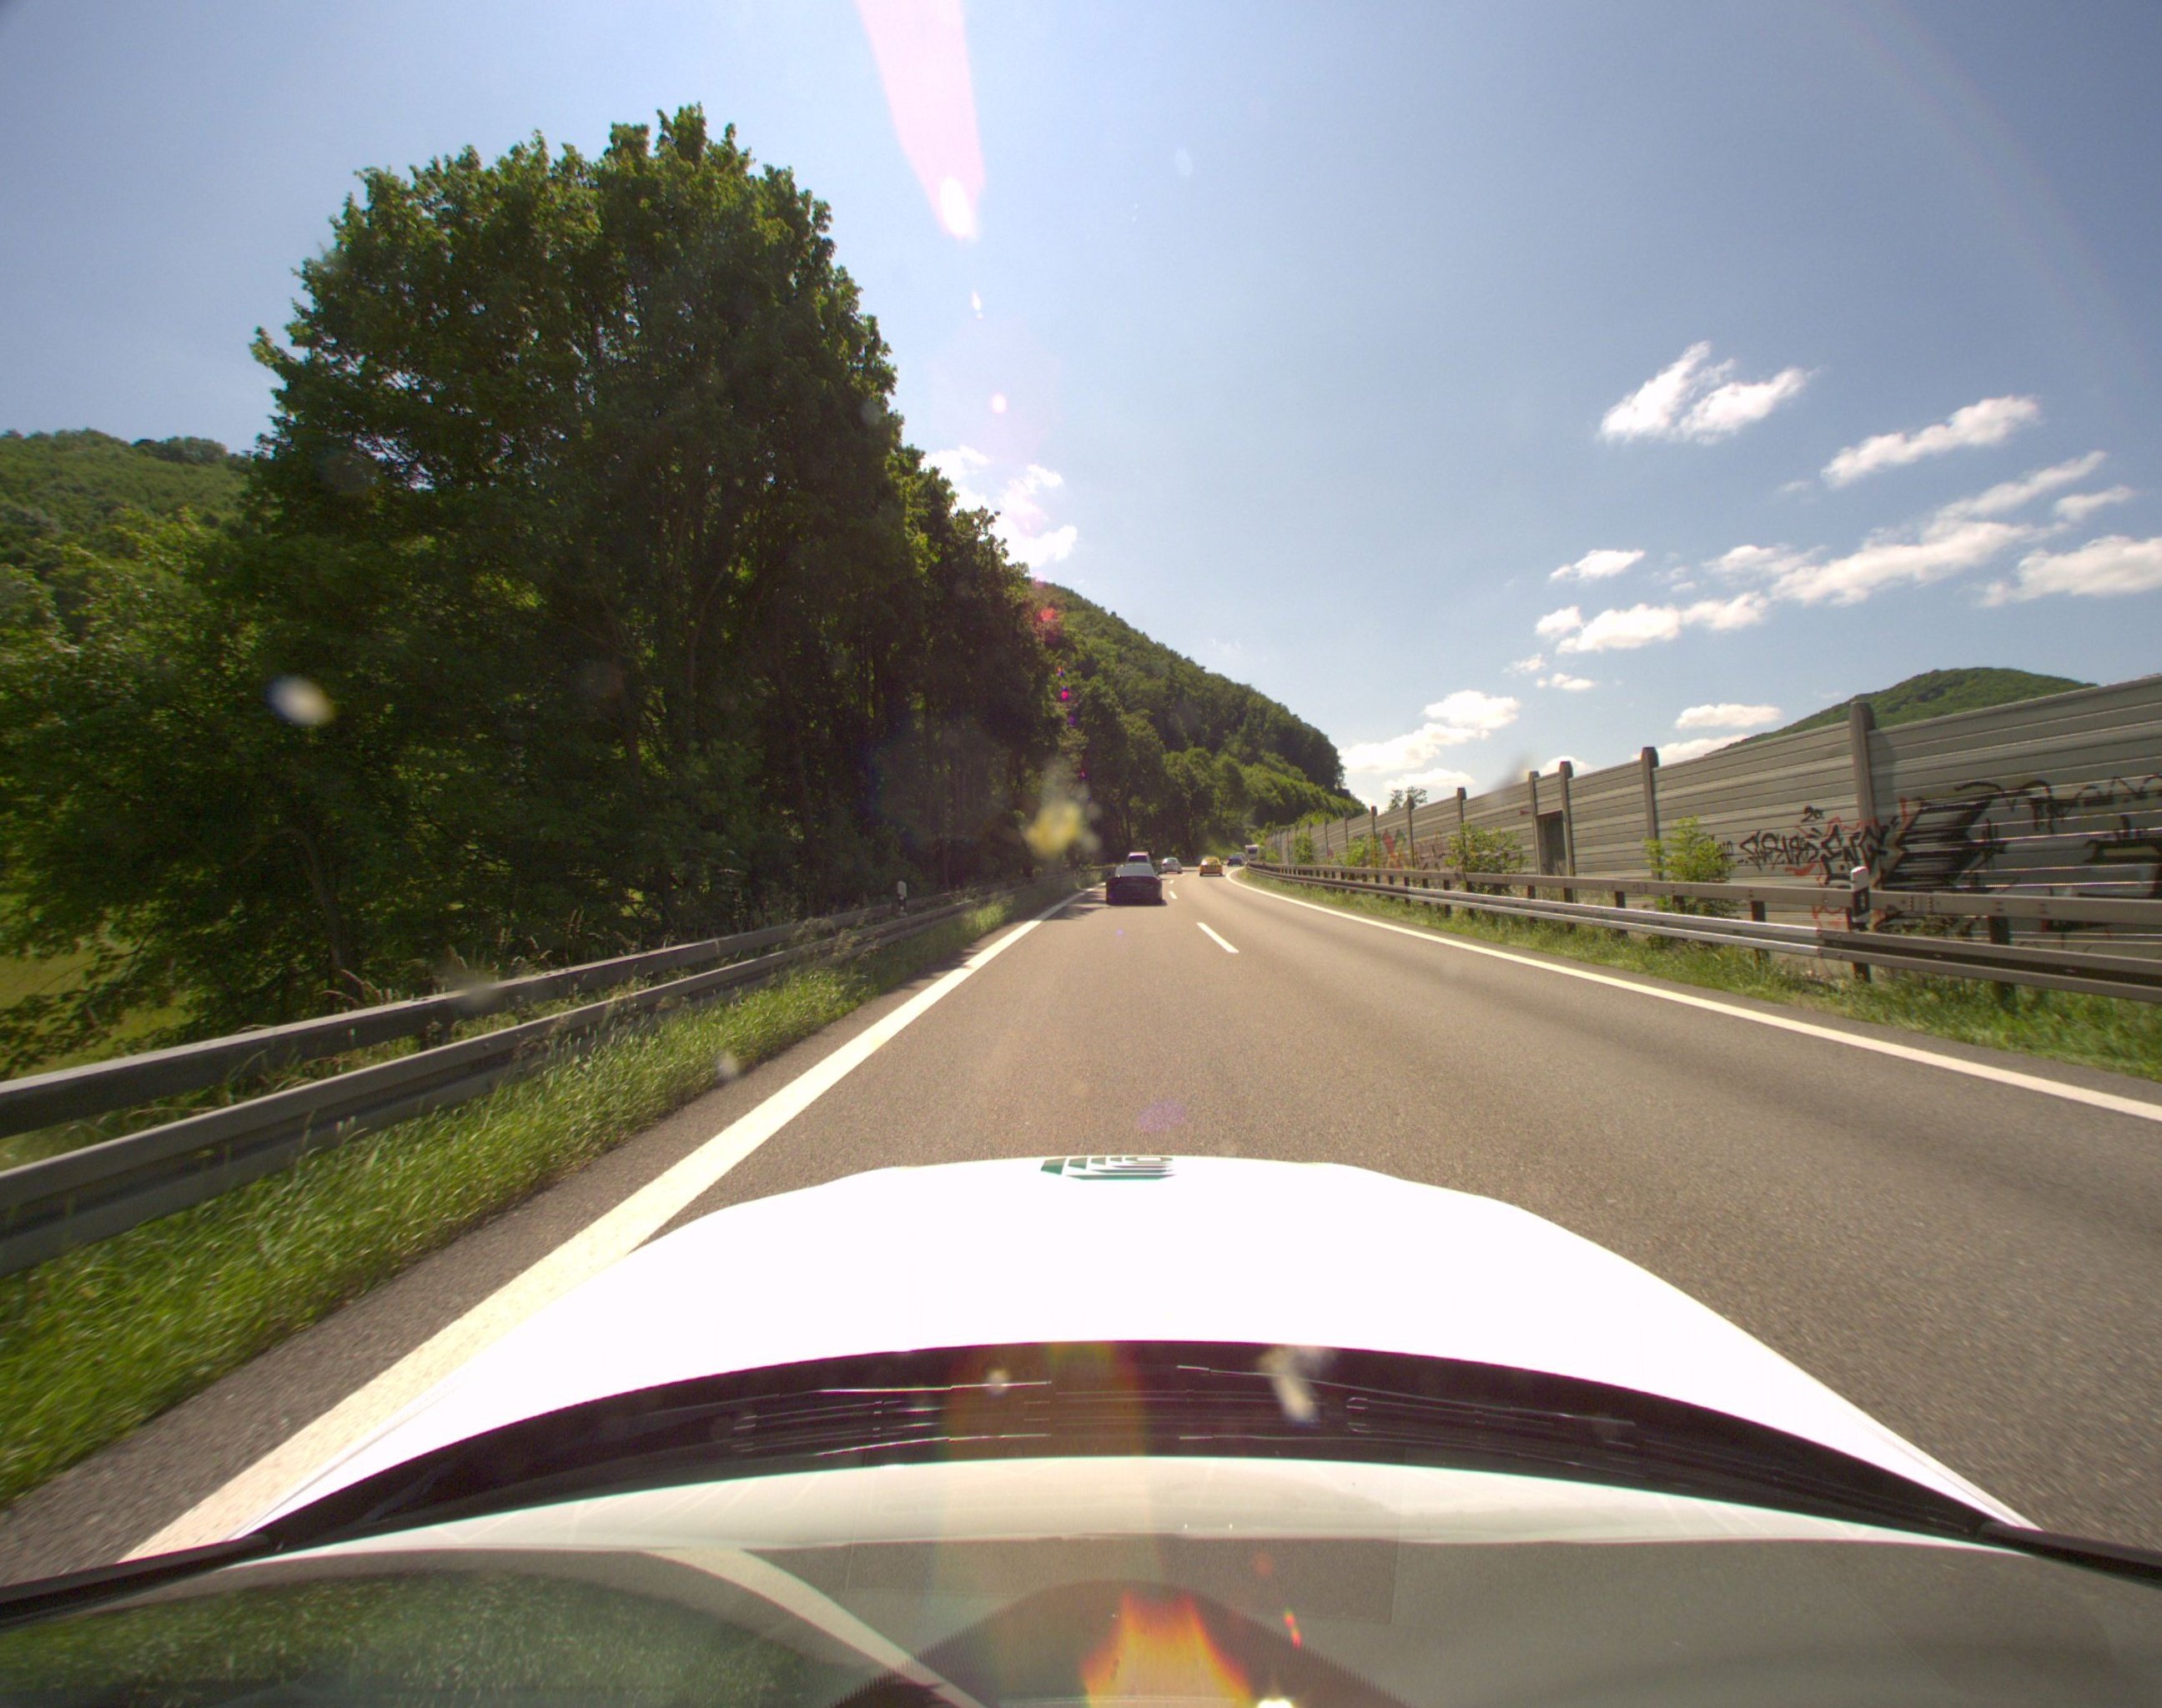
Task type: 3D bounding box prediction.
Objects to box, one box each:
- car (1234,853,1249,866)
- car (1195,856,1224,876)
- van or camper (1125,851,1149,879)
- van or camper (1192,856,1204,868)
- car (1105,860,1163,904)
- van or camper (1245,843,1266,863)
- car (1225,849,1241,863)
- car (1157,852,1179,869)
[{"bbox_3d":[26.272,0.917,133.459,1.978,2.014,4.016,-4,-3,16],"label":"car"},{"bbox_3d":[10.320,0.992,65.394,1.855,1.488,4.003,-2,-1,3],"label":"car"},{"bbox_3d":[3.720,0.749,54.846,1.386,1.816,4.001,-2,-1,1],"label":"van or camper"},{"bbox_3d":[15.387,1.015,107.047,1.549,1.534,3.513,-2,-1,9],"label":"van or camper"},{"bbox_3d":[1.763,0.935,28.209,1.831,1.349,4.001,-2,-1,1],"label":"car"},{"bbox_3d":[26.570,-0.159,124.071,2.436,2.918,6.153,-2,-1,17],"label":"van or camper"},{"bbox_3d":[19.528,0.275,104.926,1.763,1.637,4.008,-4,-3,8],"label":"car"},{"bbox_3d":[7.894,0.620,74.192,1.740,1.431,4.001,-2,-1,2],"label":"car"}]
